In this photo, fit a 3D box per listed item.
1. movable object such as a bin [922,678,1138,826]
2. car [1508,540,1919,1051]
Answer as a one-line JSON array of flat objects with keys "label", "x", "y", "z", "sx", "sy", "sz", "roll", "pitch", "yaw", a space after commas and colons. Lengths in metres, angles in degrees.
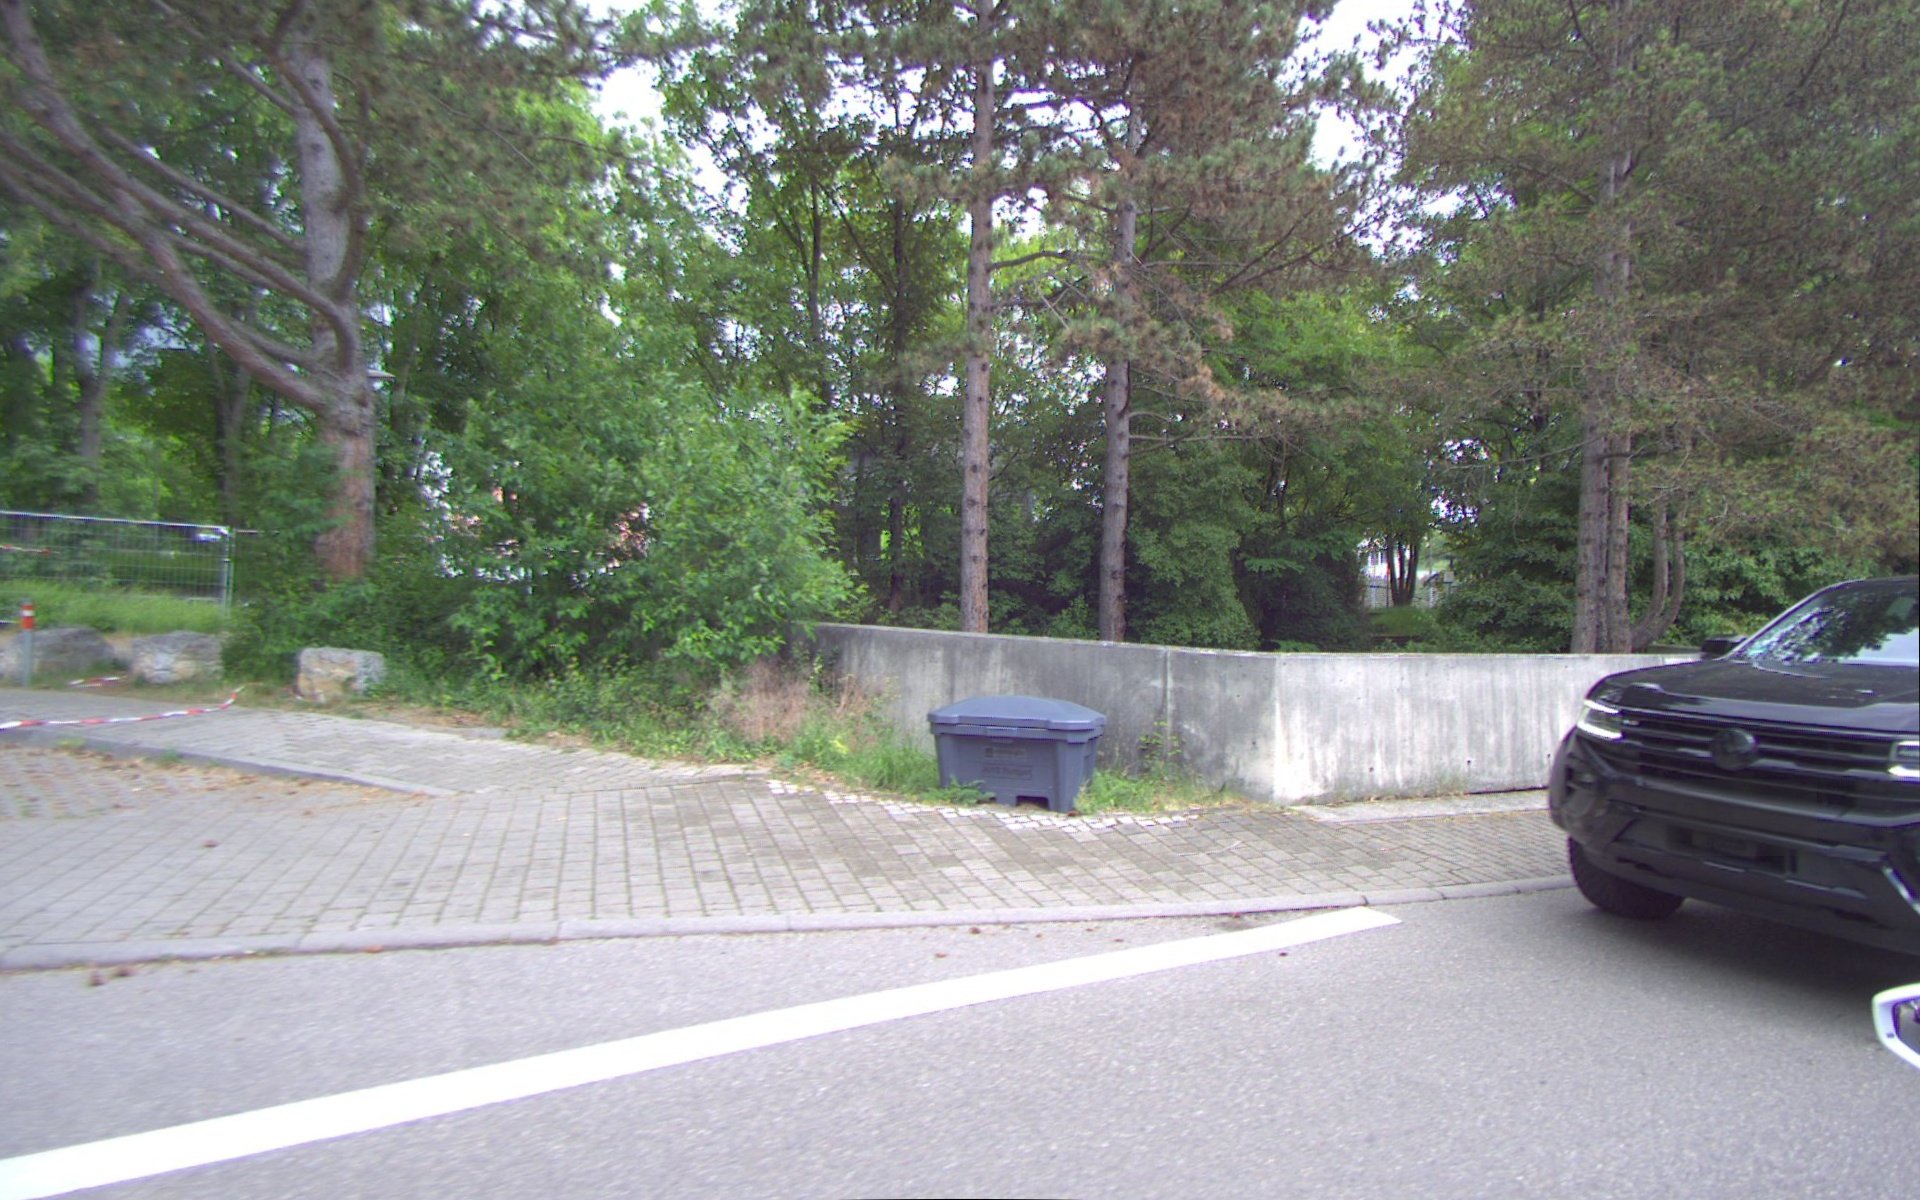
[{"label": "movable object such as a bin", "x": 0.508, "y": 1.004, "z": 6.973, "sx": 1.127, "sy": 0.770, "sz": 1.047, "roll": 3, "pitch": 1, "yaw": 29}, {"label": "car", "x": 5.468, "y": 0.745, "z": 5.095, "sx": 5.264, "sy": 1.758, "sz": 1.988, "roll": 2, "pitch": -1, "yaw": -25}]
